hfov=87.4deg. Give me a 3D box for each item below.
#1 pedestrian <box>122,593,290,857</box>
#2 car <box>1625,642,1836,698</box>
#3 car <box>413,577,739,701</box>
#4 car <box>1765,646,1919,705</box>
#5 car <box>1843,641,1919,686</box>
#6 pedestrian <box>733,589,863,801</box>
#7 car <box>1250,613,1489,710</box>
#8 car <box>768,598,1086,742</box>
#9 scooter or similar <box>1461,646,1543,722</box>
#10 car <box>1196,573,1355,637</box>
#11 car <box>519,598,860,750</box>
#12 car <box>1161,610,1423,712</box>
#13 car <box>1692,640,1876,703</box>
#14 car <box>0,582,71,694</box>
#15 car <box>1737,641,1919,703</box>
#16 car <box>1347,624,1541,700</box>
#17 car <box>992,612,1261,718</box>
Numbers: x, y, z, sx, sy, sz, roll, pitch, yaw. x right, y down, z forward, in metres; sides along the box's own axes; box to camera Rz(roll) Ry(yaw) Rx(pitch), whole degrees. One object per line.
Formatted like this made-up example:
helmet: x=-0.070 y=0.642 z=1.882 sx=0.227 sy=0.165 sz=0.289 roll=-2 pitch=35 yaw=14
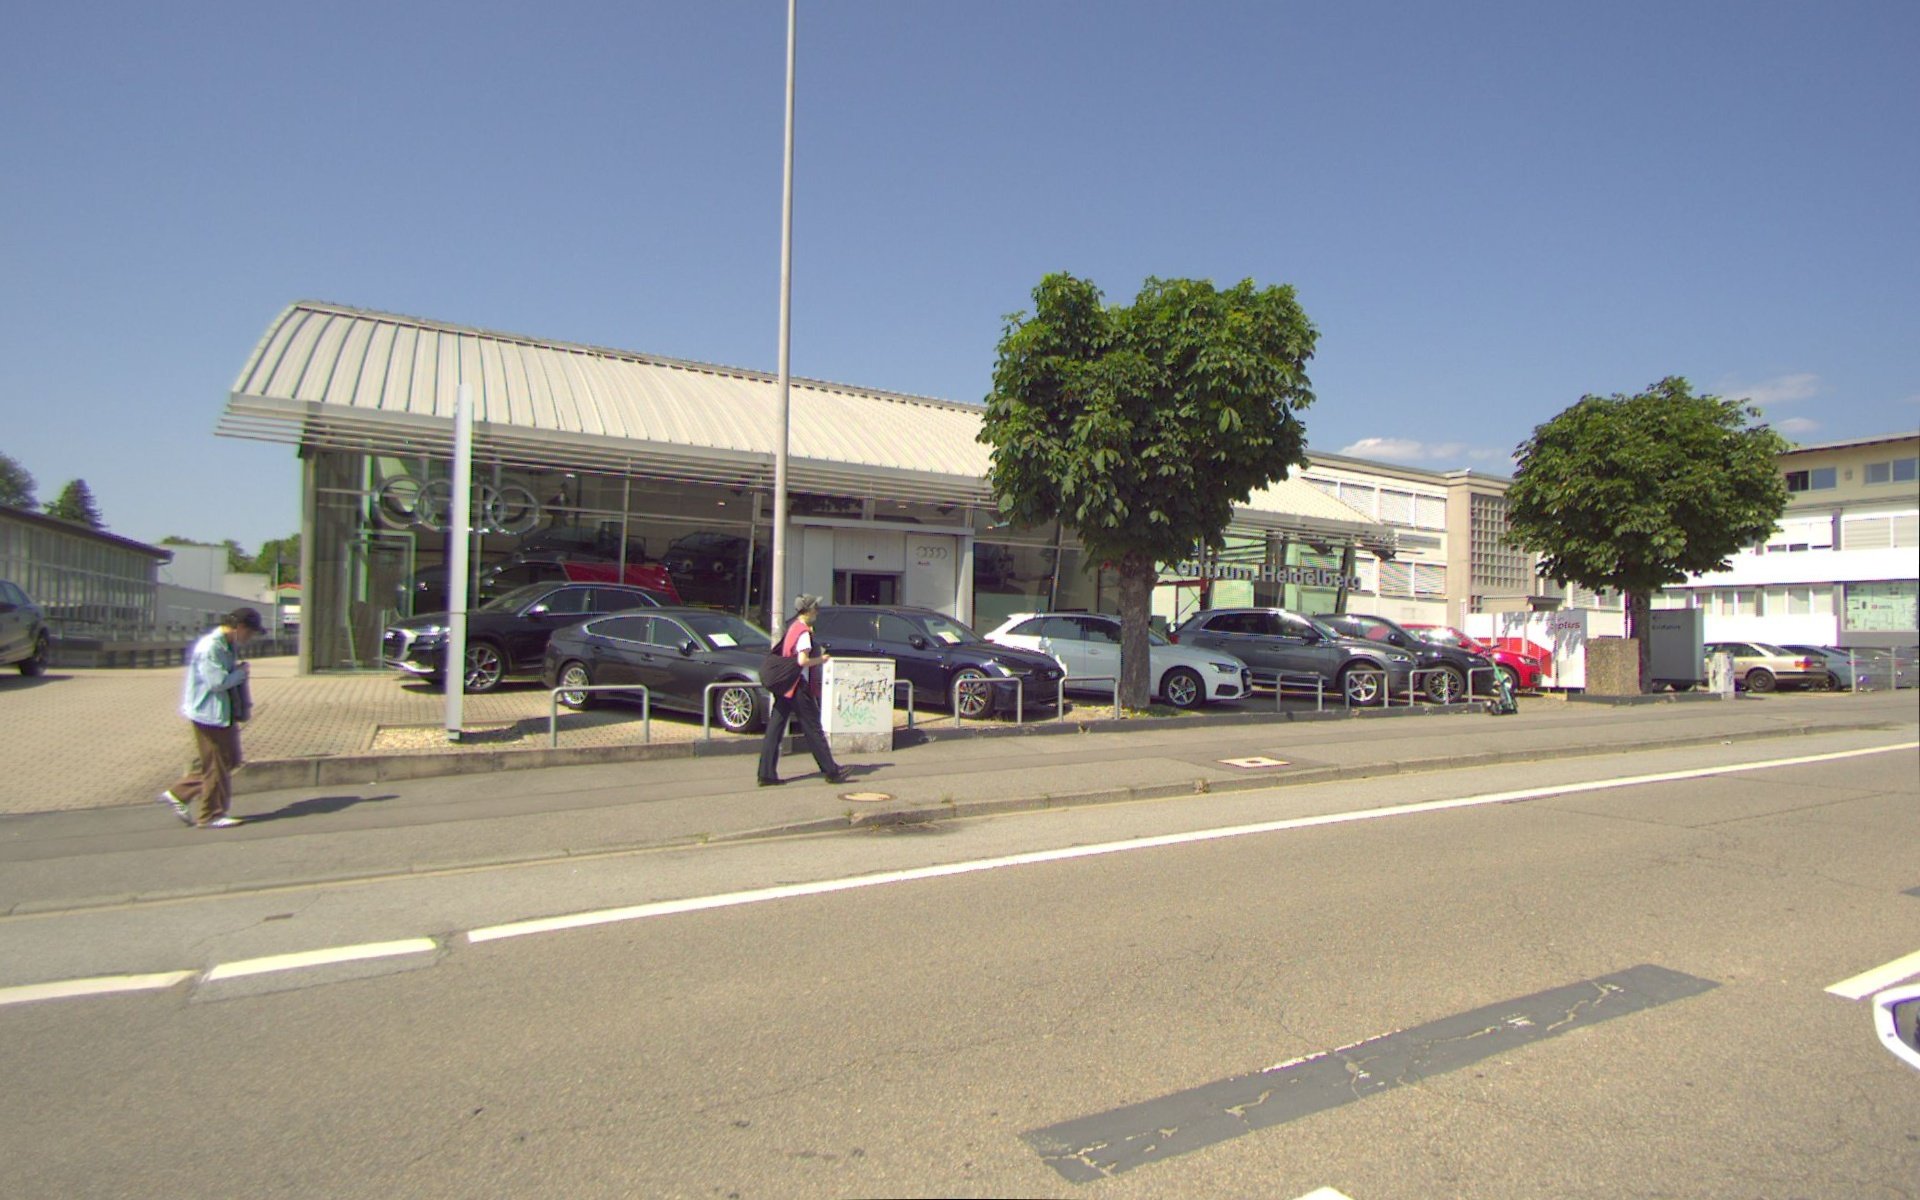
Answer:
pedestrian: x=-5.731 y=0.911 z=7.697 sx=0.901 sy=1.872 sz=0.720 roll=1 pitch=-2 yaw=-30
car: x=22.251 y=1.981 z=29.200 sx=1.879 sy=1.476 sz=4.502 roll=2 pitch=-3 yaw=-31
car: x=-6.293 y=0.620 z=16.874 sx=1.973 sy=1.742 sz=4.702 roll=3 pitch=1 yaw=45
car: x=28.884 y=2.427 z=32.517 sx=1.840 sy=1.510 sz=3.964 roll=4 pitch=0 yaw=-32
car: x=34.996 y=2.291 z=36.272 sx=1.974 sy=1.579 sz=4.272 roll=2 pitch=-3 yaw=-33
pedestrian: x=-1.545 y=0.875 z=9.571 sx=1.035 sy=1.892 sz=0.729 roll=1 pitch=-2 yaw=-30
car: x=8.502 y=1.216 z=20.998 sx=4.397 sy=1.730 sz=1.909 roll=1 pitch=-1 yaw=26
car: x=-0.519 y=0.935 z=15.209 sx=4.398 sy=1.631 sz=1.963 roll=3 pitch=4 yaw=26
scooter or similar: x=9.542 y=1.456 z=17.661 sx=1.477 sy=1.264 sz=0.738 roll=2 pitch=-2 yaw=-38
car: x=9.030 y=0.182 z=28.864 sx=3.935 sy=1.706 sz=1.993 roll=1 pitch=-2 yaw=-17
car: x=-3.607 y=0.865 z=13.367 sx=4.082 sy=1.479 sz=1.906 roll=4 pitch=2 yaw=26
car: x=6.242 y=1.068 z=18.907 sx=4.494 sy=1.719 sz=1.858 roll=0 pitch=-1 yaw=26
car: x=24.643 y=2.110 z=30.171 sx=1.805 sy=1.463 sz=3.865 roll=4 pitch=0 yaw=-34
car: x=-14.516 y=0.526 z=14.238 sx=1.873 sy=1.545 sz=3.972 roll=2 pitch=-2 yaw=-27
car: x=26.699 y=2.184 z=30.906 sx=1.839 sy=1.462 sz=3.966 roll=4 pitch=0 yaw=-31
car: x=11.206 y=1.377 z=23.300 sx=3.929 sy=1.570 sz=1.856 roll=0 pitch=-2 yaw=30
car: x=2.827 y=1.041 z=17.086 sx=4.124 sy=1.514 sz=1.873 roll=1 pitch=-1 yaw=26
